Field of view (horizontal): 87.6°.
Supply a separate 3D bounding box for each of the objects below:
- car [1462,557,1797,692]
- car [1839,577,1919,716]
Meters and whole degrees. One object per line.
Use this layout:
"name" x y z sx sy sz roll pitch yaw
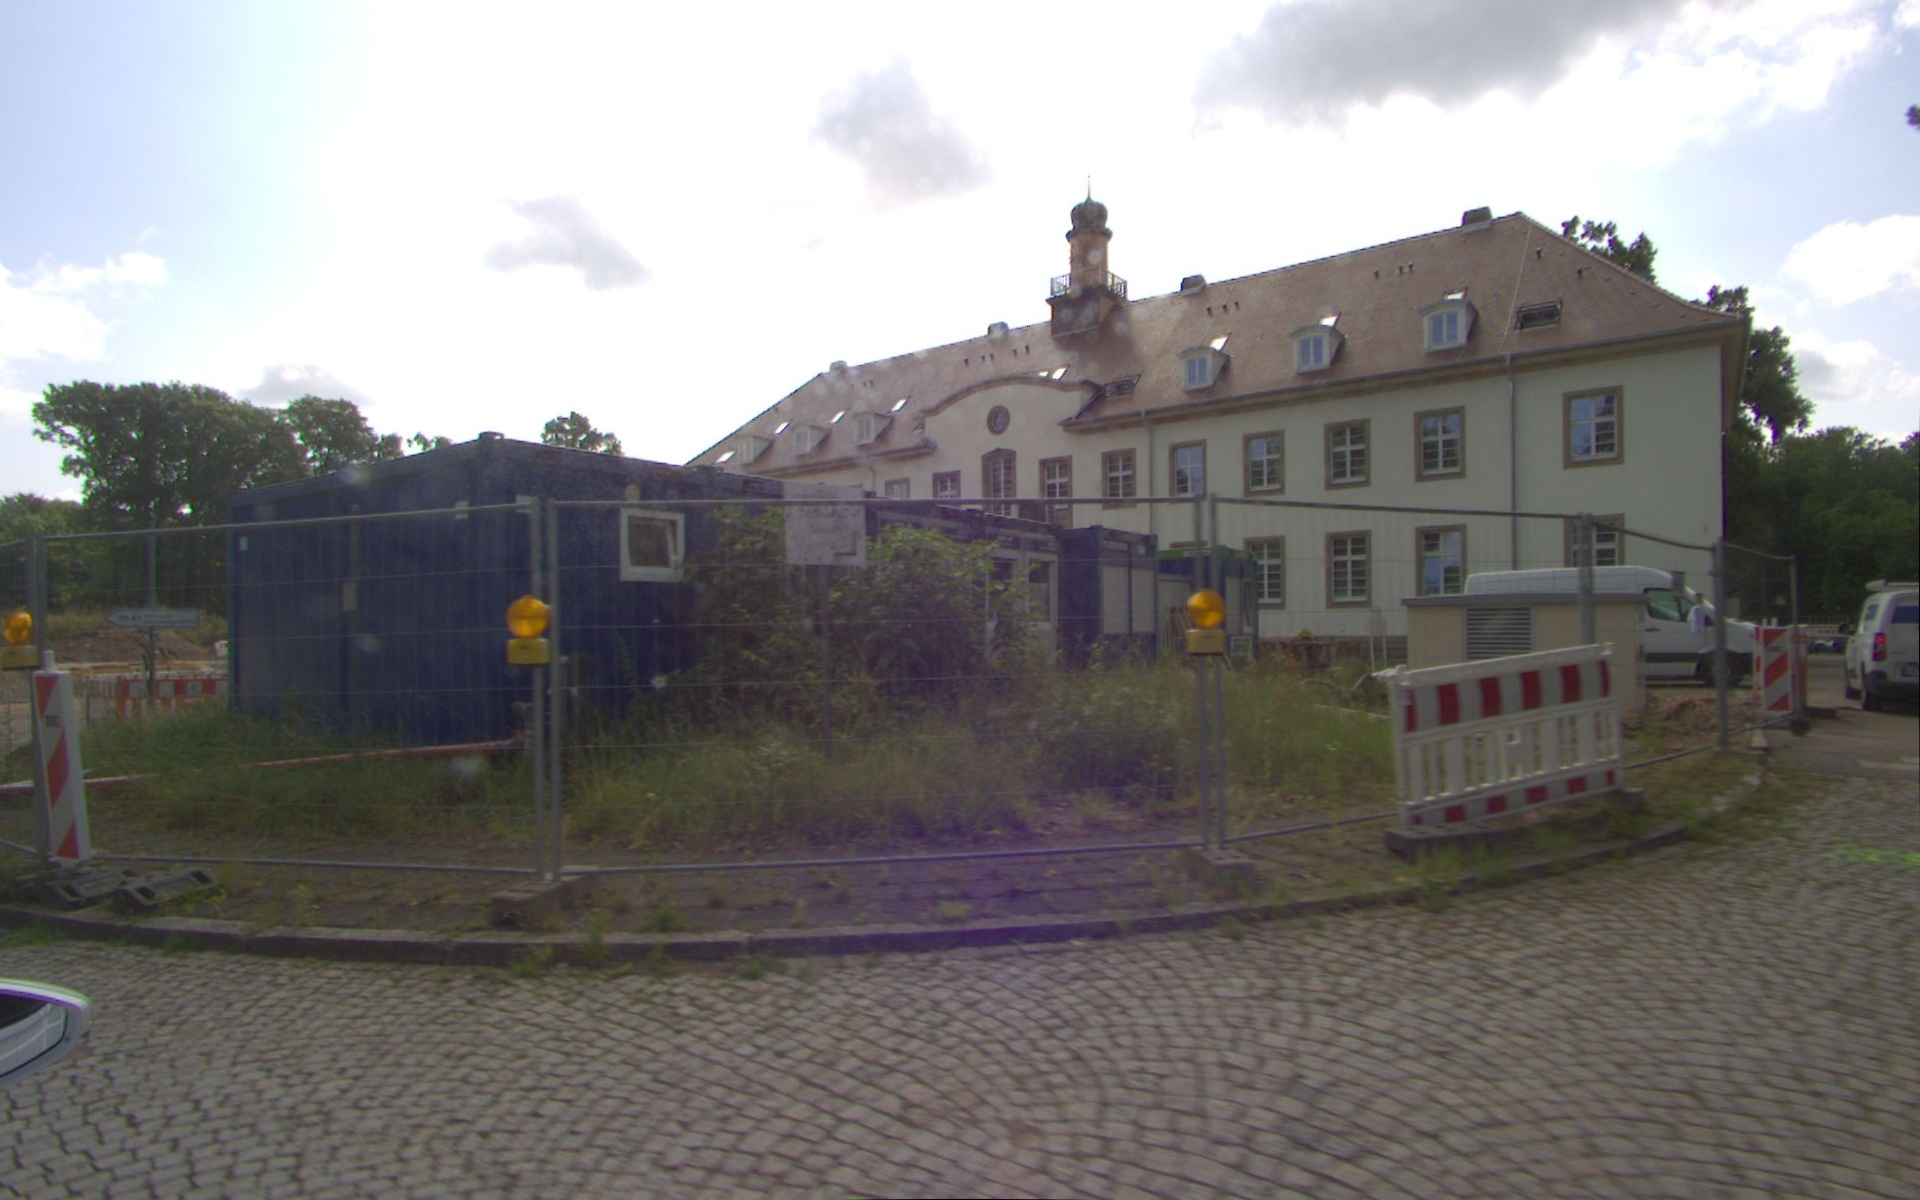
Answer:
"car" 14.306 0.584 21.737 5.839 2.588 1.986 -2 -3 39
"car" 15.210 0.695 15.624 1.882 1.946 4.842 1 -1 37
